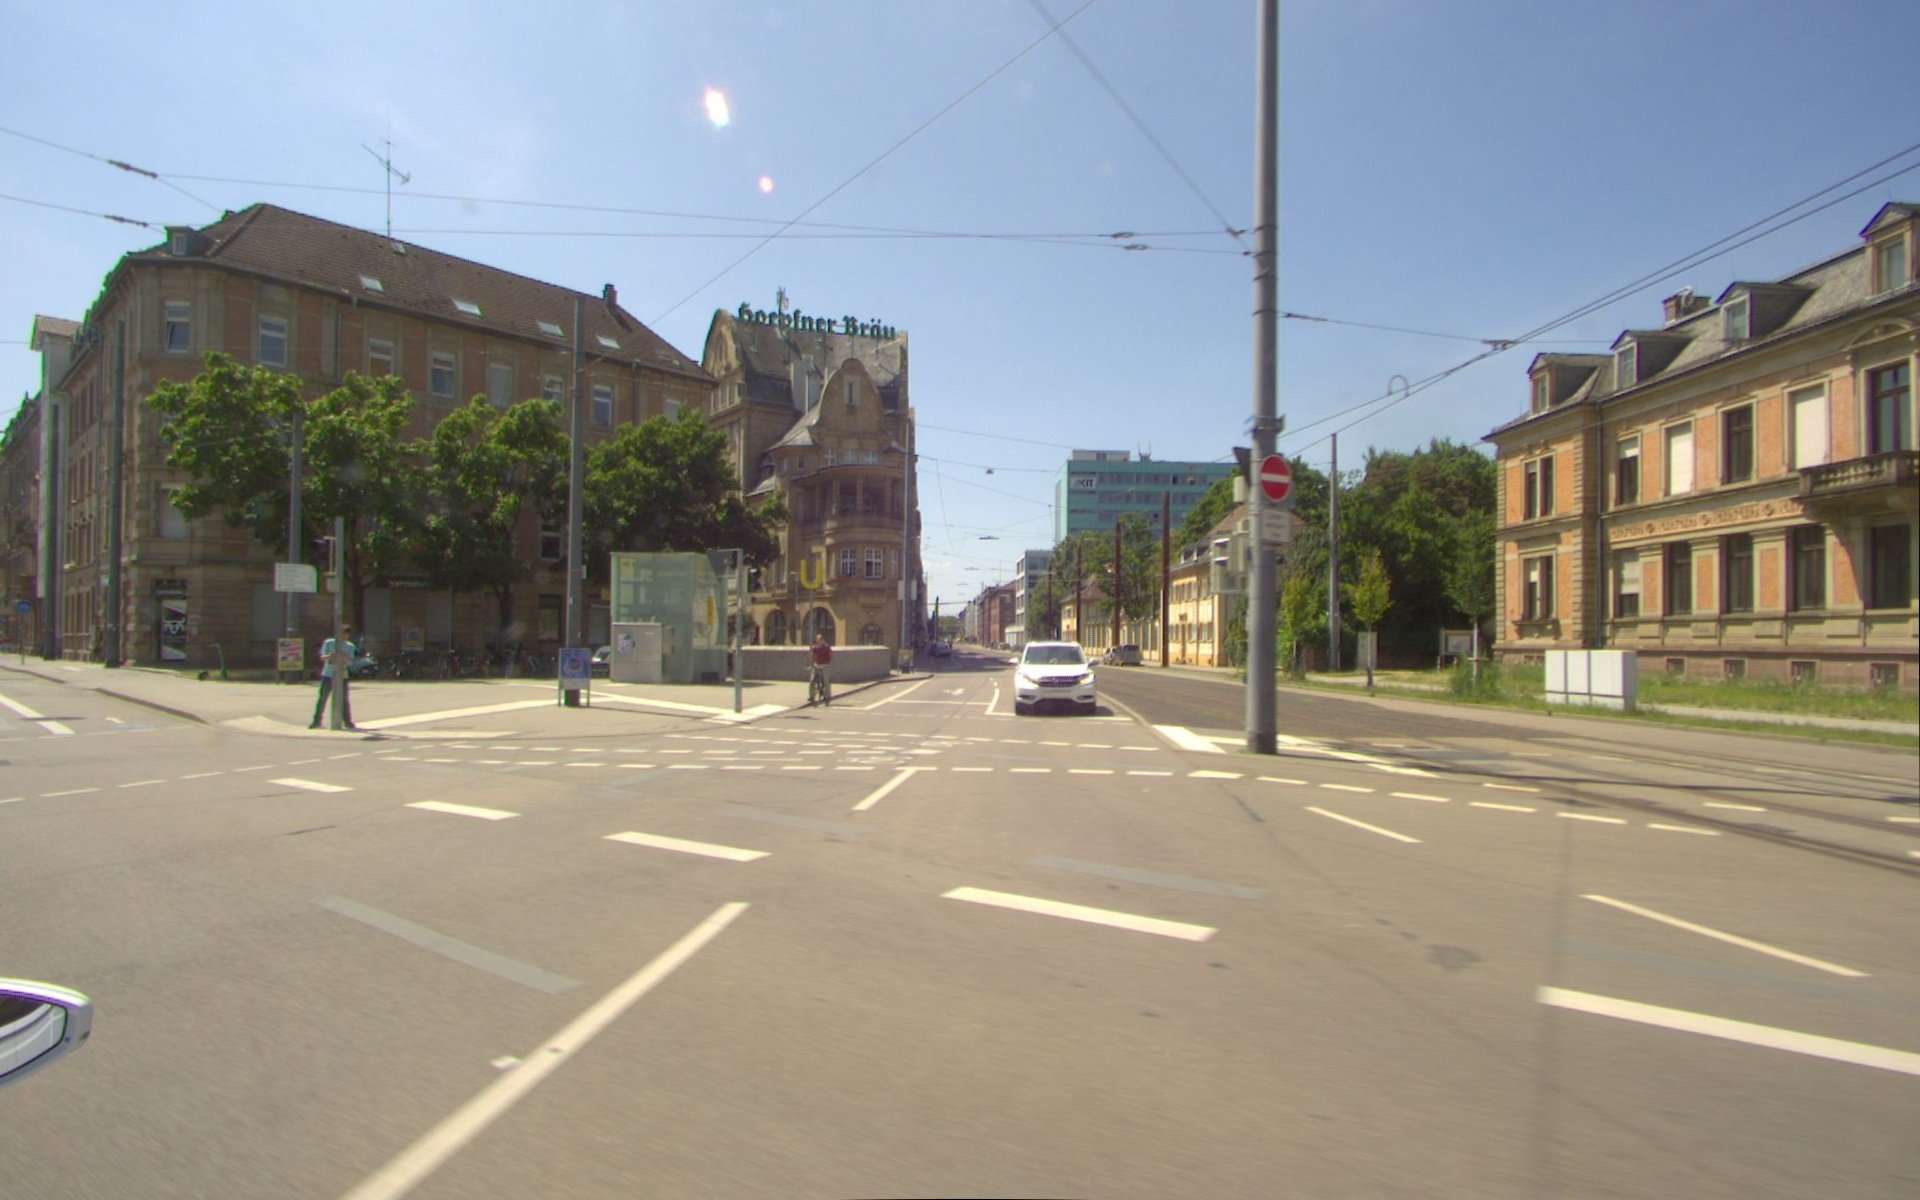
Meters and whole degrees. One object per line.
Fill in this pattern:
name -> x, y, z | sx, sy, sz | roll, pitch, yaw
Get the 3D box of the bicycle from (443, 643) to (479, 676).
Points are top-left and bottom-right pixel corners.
bicycle -> -17.813, 2.123, 35.737 | 1.869, 1.134, 0.548 | -1, -2, 44

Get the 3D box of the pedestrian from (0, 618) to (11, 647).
pedestrian -> -68.487, 2.345, 71.596 | 0.656, 2.038, 0.765 | -2, -4, 39

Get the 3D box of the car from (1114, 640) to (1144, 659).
car -> 14.132, 4.199, 83.953 | 1.961, 1.470, 4.005 | 1, -4, 2

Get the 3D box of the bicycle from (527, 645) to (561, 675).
bicycle -> -16.343, 2.348, 39.311 | 1.801, 1.134, 0.548 | -1, -2, 44

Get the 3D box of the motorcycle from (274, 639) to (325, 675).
motorcycle -> -20.906, 1.801, 31.694 | 1.918, 1.088, 0.579 | -1, -2, 32

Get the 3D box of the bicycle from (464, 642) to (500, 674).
bicycle -> -17.657, 2.119, 36.961 | 1.851, 1.134, 0.548 | -1, -2, 44

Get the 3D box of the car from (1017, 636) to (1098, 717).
car -> 2.137, 1.656, 22.696 | 1.661, 1.625, 4.195 | 1, -2, 4

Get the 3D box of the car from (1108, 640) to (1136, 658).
car -> 14.435, 4.396, 89.599 | 1.961, 1.470, 4.005 | 1, -4, 2

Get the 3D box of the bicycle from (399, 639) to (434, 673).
bicycle -> -18.823, 1.942, 34.657 | 1.801, 1.134, 0.548 | -1, -2, 44

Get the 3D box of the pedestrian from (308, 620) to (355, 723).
pedestrian -> -10.805, 1.211, 17.211 | 0.631, 1.729, 0.459 | 0, -2, 36

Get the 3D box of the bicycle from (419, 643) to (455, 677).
bicycle -> -18.353, 2.091, 35.110 | 1.801, 1.134, 0.548 | -1, -2, 44

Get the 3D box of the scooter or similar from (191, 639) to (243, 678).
scooter or similar -> -23.722, 1.851, 31.996 | 0.588, 1.196, 1.791 | 1, -2, -12

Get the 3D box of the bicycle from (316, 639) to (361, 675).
bicycle -> -20.249, 1.835, 32.600 | 1.795, 1.134, 0.550 | -1, -2, 34

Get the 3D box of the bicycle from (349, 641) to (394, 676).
bicycle -> -19.800, 1.966, 33.660 | 2.066, 1.159, 0.441 | -2, -4, 35

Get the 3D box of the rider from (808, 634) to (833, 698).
rider -> -3.636, 1.708, 26.130 | 0.553, 1.621, 0.875 | 1, -1, -4

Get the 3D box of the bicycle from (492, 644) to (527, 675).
bicycle -> -17.111, 2.240, 38.023 | 1.909, 1.134, 0.548 | -1, -2, 44
